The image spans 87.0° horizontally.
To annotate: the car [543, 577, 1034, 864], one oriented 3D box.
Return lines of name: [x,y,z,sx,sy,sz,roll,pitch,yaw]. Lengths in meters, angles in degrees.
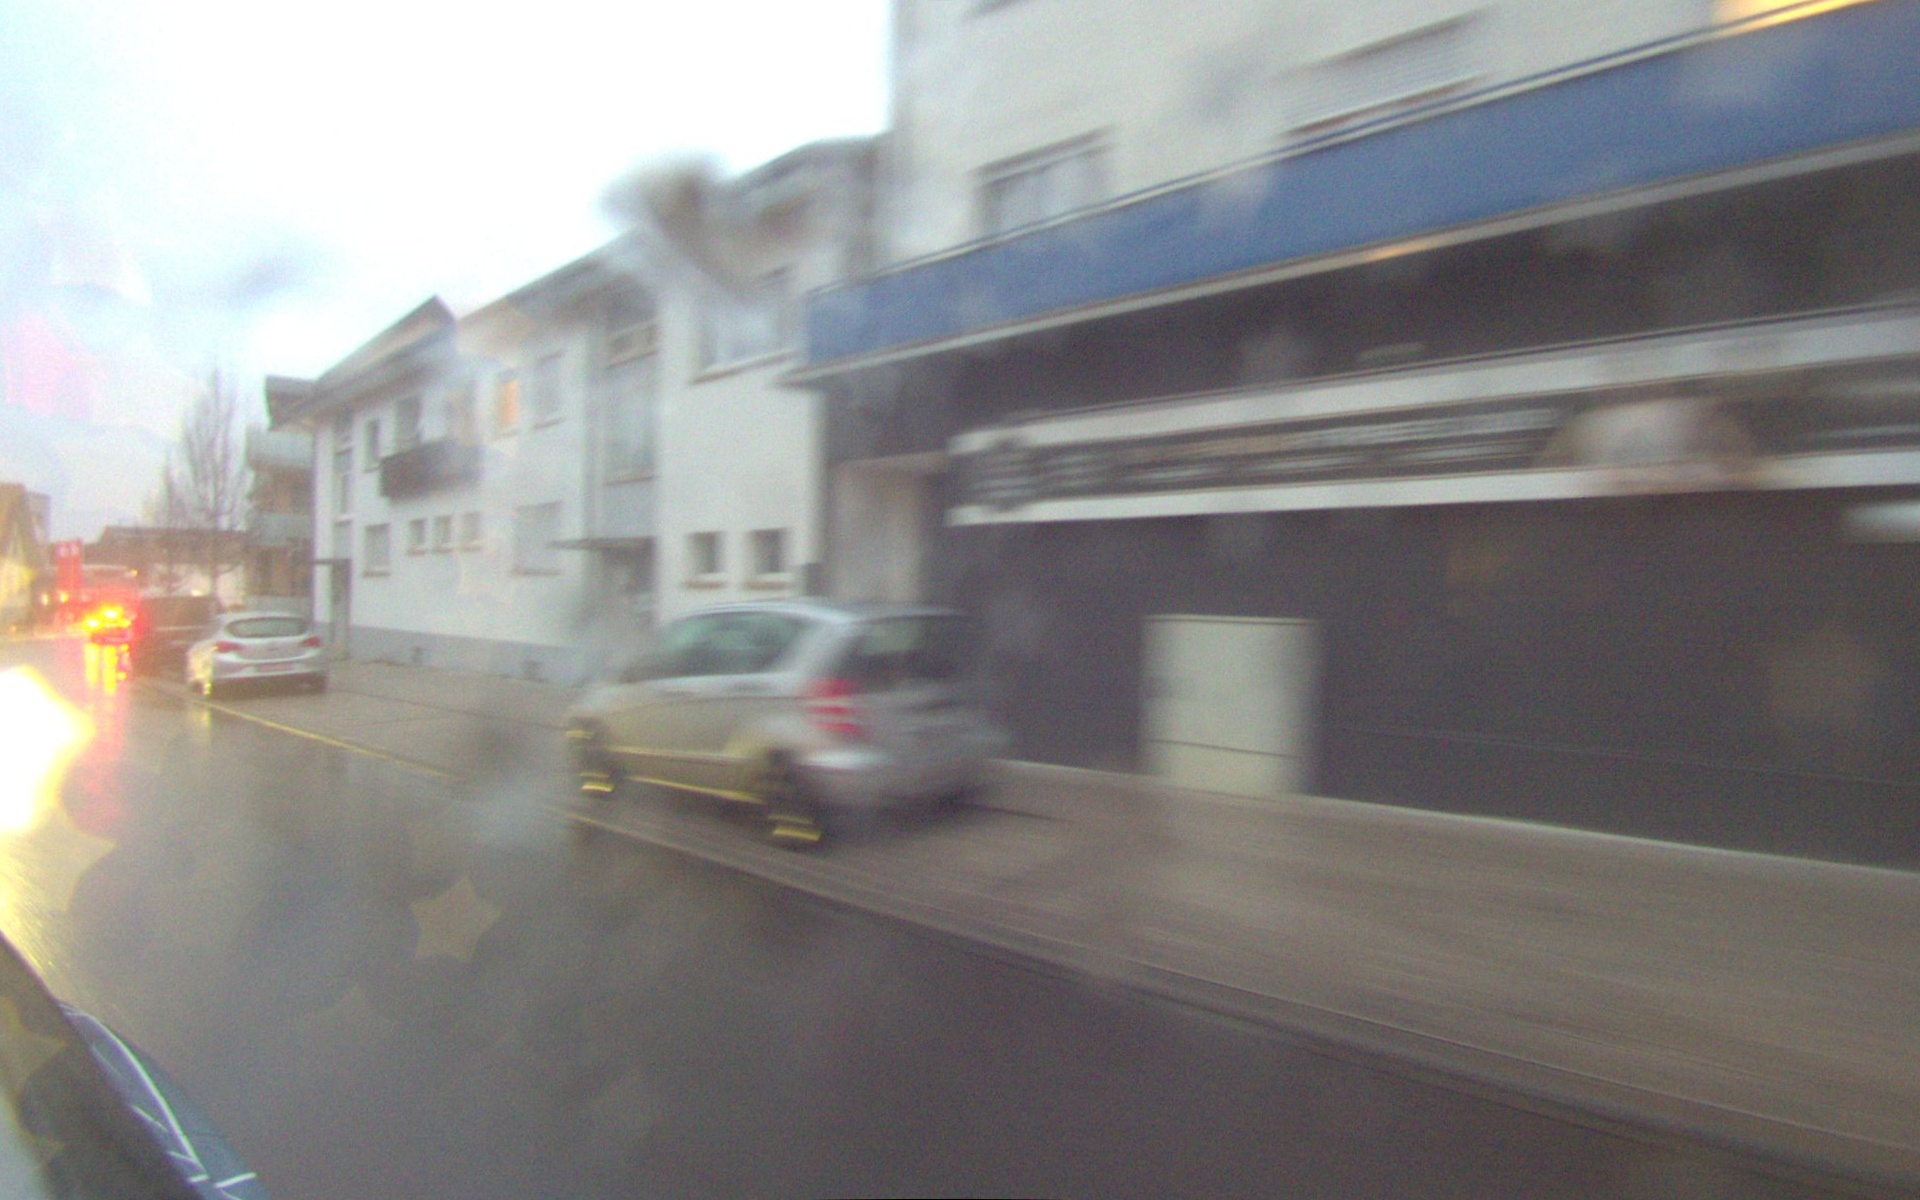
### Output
car: [-1.471,0.692,7.749,3.815,1.626,1.702,-1,1,43]

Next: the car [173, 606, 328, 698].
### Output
car: [-13.340,0.876,18.921,1.773,1.467,4.399,-2,1,-43]

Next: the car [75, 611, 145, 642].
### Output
car: [-42.669,1.295,50.885,1.966,1.511,4.012,1,-1,-30]

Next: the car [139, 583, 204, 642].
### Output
car: [-37.895,0.582,48.731,2.014,2.679,4.222,-2,1,-33]

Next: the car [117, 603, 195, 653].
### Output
car: [-30.054,0.998,37.932,1.909,1.682,4.352,-2,1,-34]

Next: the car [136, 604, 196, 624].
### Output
car: [-74.894,1.350,95.520,3.931,1.660,1.867,3,-3,-17]

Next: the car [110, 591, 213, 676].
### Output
car: [-20.139,0.803,25.503,1.856,1.914,4.842,-2,0,-39]

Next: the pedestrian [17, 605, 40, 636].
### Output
pedestrian: [-52.084,1.159,56.588,0.639,1.674,0.651,2,-3,-10]
